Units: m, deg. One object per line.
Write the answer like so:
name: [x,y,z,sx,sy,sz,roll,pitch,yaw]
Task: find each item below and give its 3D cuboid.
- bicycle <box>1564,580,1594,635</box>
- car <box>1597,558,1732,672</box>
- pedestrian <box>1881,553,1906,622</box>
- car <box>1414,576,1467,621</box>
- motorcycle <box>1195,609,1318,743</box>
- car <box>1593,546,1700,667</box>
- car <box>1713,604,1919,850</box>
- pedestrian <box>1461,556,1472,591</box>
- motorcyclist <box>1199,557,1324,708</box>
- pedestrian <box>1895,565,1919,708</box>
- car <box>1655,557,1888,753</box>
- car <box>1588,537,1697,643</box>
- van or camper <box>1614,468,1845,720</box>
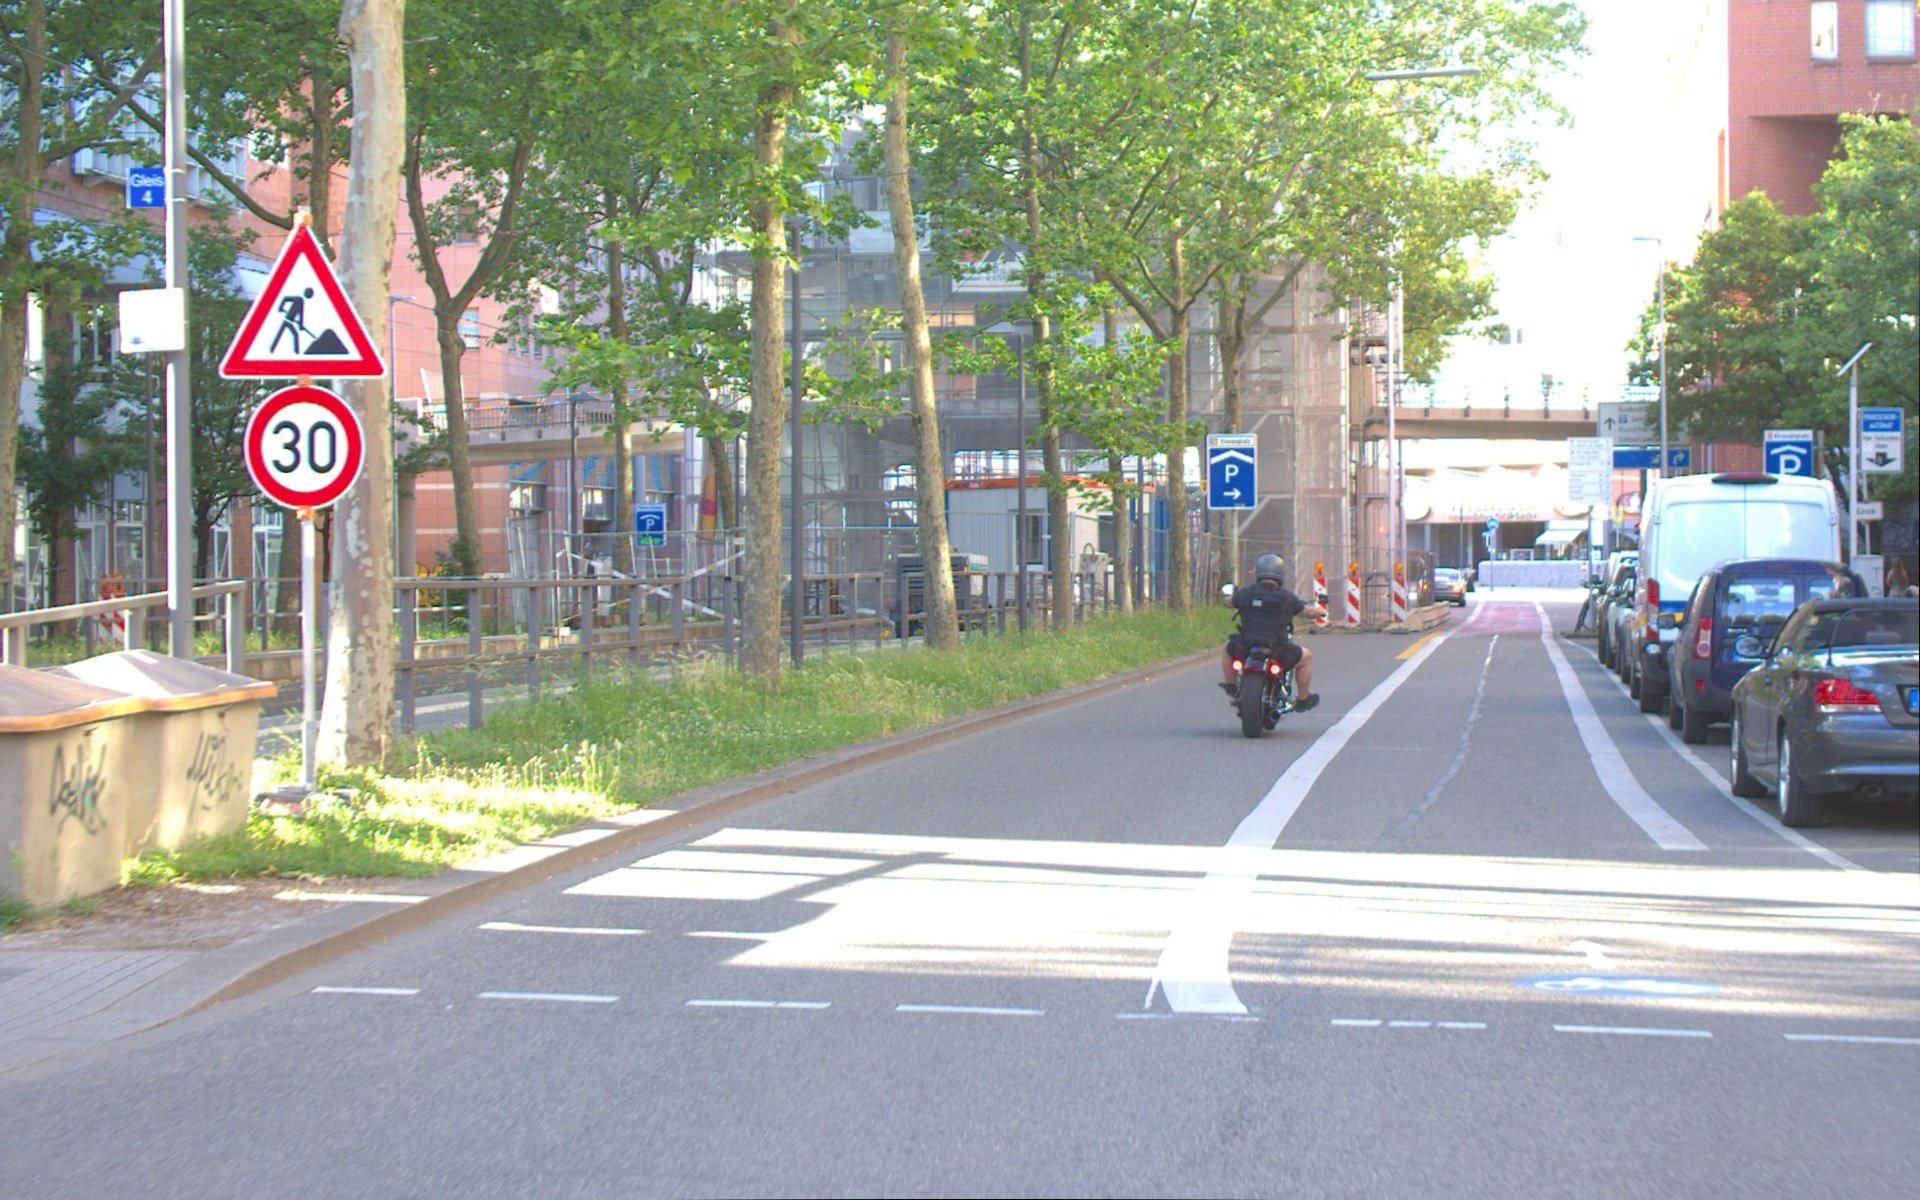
bicycle: [14.134,0.160,78.533,0.664,1.230,2.227,0,1,10]
car: [10.303,0.188,50.484,1.620,1.604,3.773,0,1,7]
pedestrian: [21.975,-0.299,80.943,0.449,1.621,0.375,0,1,-6]
car: [18.625,-0.080,133.428,1.852,1.711,3.999,0,1,5]
motorcycle: [2.620,0.649,30.168,1.018,1.093,2.007,0,1,6]
car: [10.984,0.077,55.054,1.621,1.859,3.772,0,1,11]
car: [5.651,0.703,21.098,1.620,1.298,4.310,0,1,7]
pedestrian: [27.092,-1.426,183.776,0.541,1.875,0.529,0,1,6]
motorcyclist: [2.640,0.274,30.047,1.012,1.258,0.774,2,1,7]
pedestrian: [11.242,0.414,39.681,0.762,1.639,0.547,0,0,2]
car: [7.152,0.429,30.643,1.621,1.614,4.484,0,1,8]
car: [13.256,-0.213,66.994,1.836,2.007,4.386,0,1,8]
van or camper: [8.305,-0.099,37.544,2.049,2.532,5.771,0,1,9]
